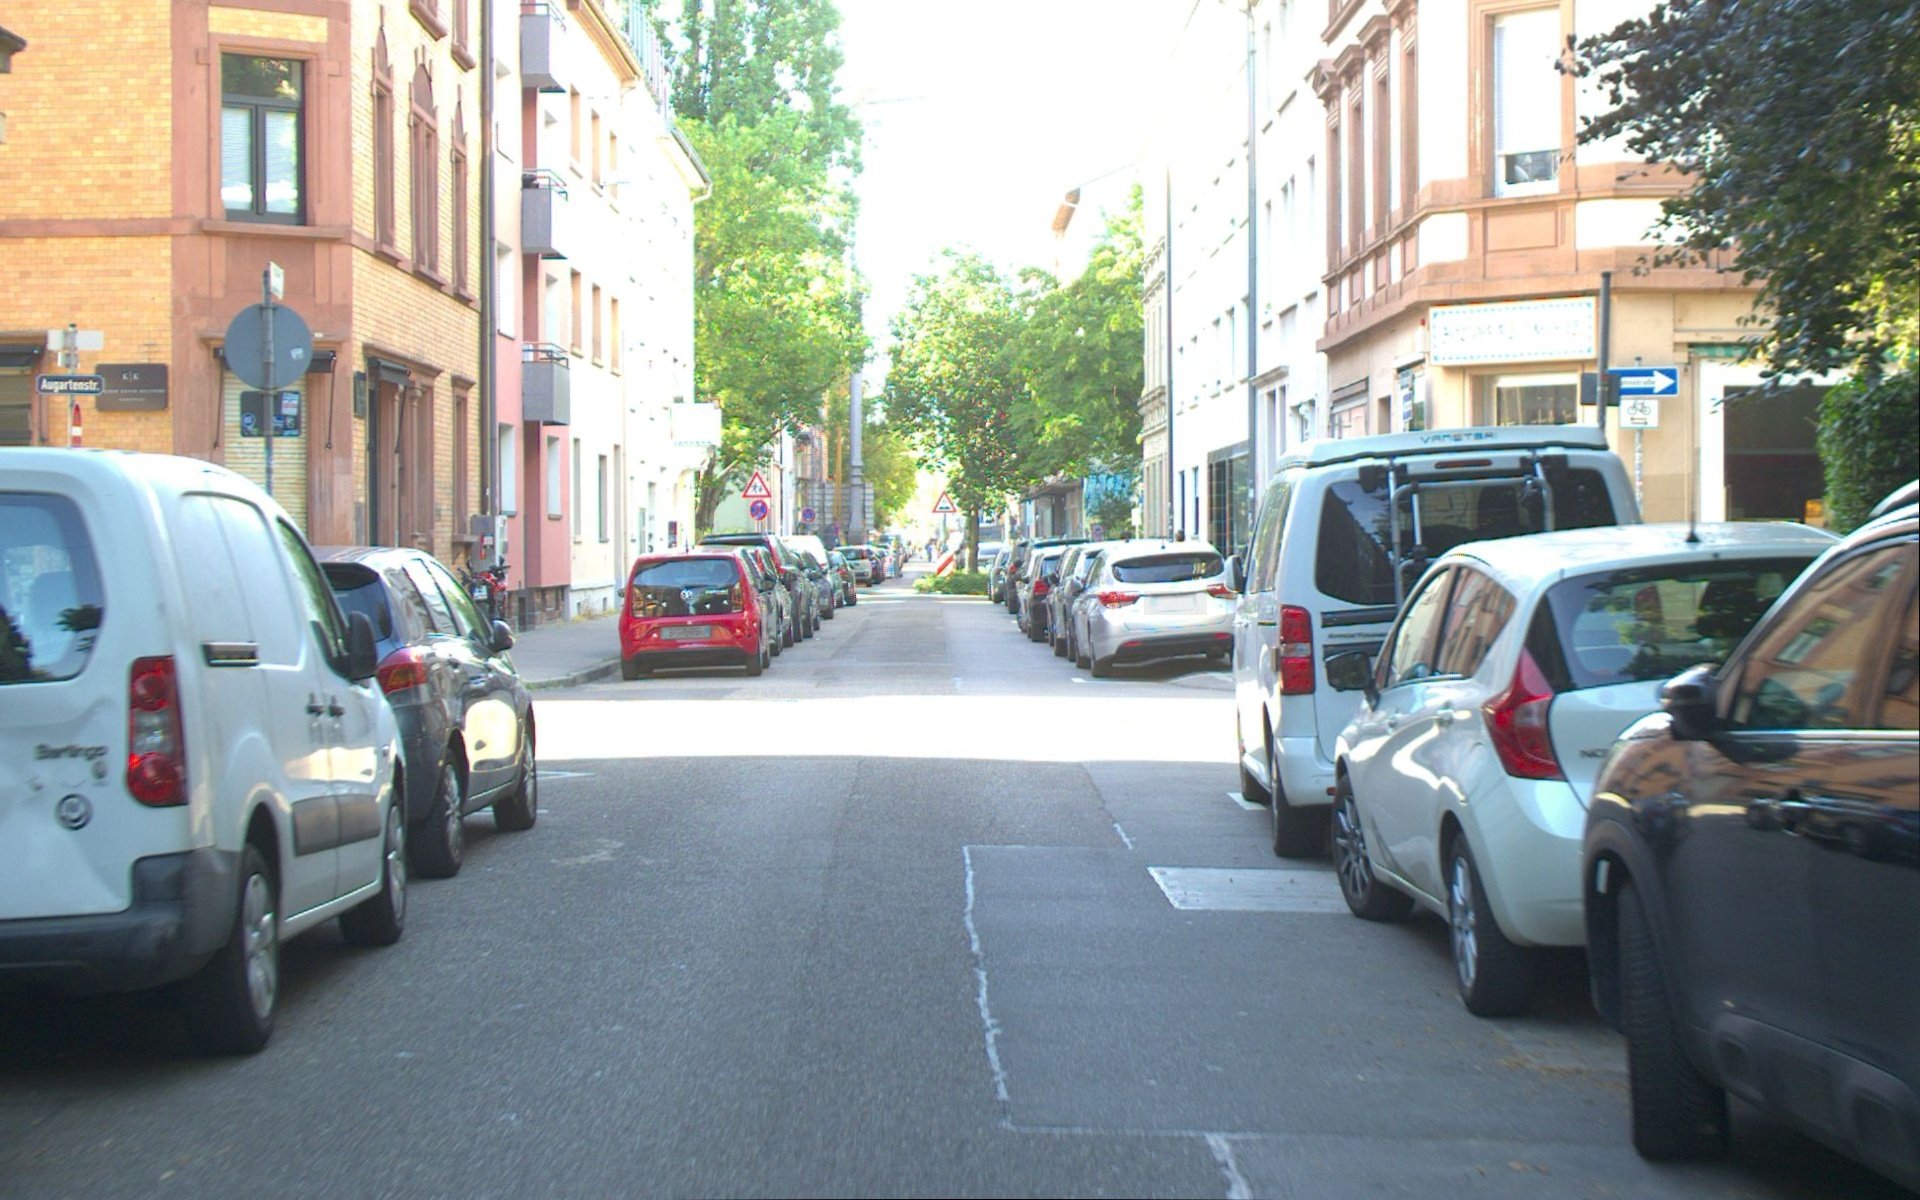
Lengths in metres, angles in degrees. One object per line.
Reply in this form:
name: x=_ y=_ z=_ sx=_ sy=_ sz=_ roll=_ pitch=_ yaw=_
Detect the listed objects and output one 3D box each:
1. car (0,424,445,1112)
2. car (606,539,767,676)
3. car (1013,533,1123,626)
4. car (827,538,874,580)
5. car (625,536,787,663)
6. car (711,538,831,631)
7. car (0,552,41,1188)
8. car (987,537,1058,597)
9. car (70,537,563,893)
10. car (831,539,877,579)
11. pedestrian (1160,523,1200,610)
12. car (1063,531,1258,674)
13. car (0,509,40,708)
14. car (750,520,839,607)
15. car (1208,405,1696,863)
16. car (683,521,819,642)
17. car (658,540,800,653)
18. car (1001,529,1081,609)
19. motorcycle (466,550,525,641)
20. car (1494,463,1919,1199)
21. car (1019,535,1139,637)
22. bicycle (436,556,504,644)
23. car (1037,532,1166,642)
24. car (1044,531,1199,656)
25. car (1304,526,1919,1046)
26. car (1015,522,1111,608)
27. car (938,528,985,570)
car: x=-2.977 y=0.424 z=11.385 sx=1.831 sy=1.805 sz=4.572 roll=-2 pitch=1 yaw=-1
car: x=-3.191 y=0.052 z=40.645 sx=1.628 sy=1.476 sz=3.601 roll=-2 pitch=1 yaw=-1
car: x=1.853 y=-0.382 z=60.199 sx=1.676 sy=1.501 sz=3.938 roll=-2 pitch=1 yaw=-1
car: x=-4.095 y=-1.548 z=129.211 sx=1.676 sy=1.482 sz=4.095 roll=-2 pitch=1 yaw=-1
car: x=-3.307 y=-0.042 z=45.414 sx=1.695 sy=1.516 sz=4.096 roll=-2 pitch=1 yaw=1
car: x=-3.314 y=-0.304 z=60.940 sx=1.743 sy=1.501 sz=4.346 roll=-2 pitch=1 yaw=1
car: x=-3.067 y=0.705 z=6.584 sx=1.692 sy=1.509 sz=3.974 roll=-2 pitch=1 yaw=-3
car: x=1.640 y=-0.905 z=91.431 sx=1.676 sy=1.482 sz=4.095 roll=-2 pitch=1 yaw=-1
car: x=-3.026 y=0.465 z=16.941 sx=1.692 sy=1.476 sz=3.973 roll=-2 pitch=1 yaw=-1
car: x=-4.113 y=-1.614 z=134.222 sx=1.676 sy=1.482 sz=4.095 roll=-2 pitch=1 yaw=-1
pedestrian: x=4.197 y=-0.645 z=65.723 sx=0.685 sy=1.654 sz=0.717 roll=-1 pitch=1 yaw=0
car: x=2.278 y=-0.016 z=40.082 sx=1.743 sy=1.501 sz=4.358 roll=-2 pitch=1 yaw=-3
car: x=-11.438 y=0.096 z=32.832 sx=4.712 sy=1.888 sz=2.026 roll=0 pitch=-1 yaw=5
car: x=-3.579 y=-0.807 z=74.890 sx=1.765 sy=1.779 sz=4.039 roll=-2 pitch=1 yaw=-1
car: x=2.386 y=0.103 z=17.870 sx=1.914 sy=1.991 sz=4.792 roll=-2 pitch=1 yaw=2
car: x=-3.334 y=-0.335 z=55.663 sx=1.743 sy=1.805 sz=4.672 roll=-2 pitch=1 yaw=1
car: x=-3.334 y=-0.085 z=50.237 sx=1.656 sy=1.516 sz=3.944 roll=-2 pitch=1 yaw=1
car: x=1.801 y=-0.693 z=77.243 sx=1.676 sy=1.676 sz=4.094 roll=-2 pitch=0 yaw=1
motorcycle: x=-6.317 y=-0.074 z=46.818 sx=0.533 sy=1.201 sz=1.909 roll=0 pitch=1 yaw=0
car: x=2.510 y=0.480 z=7.062 sx=1.739 sy=1.597 sz=4.265 roll=-5 pitch=1 yaw=-4
car: x=1.878 y=-0.251 z=55.288 sx=1.676 sy=1.501 sz=3.938 roll=-2 pitch=1 yaw=-1
bicycle: x=-6.318 y=-0.007 z=44.400 sx=0.533 sy=1.070 sz=1.891 roll=4 pitch=1 yaw=0
car: x=2.052 y=-0.225 z=50.697 sx=1.598 sy=1.501 sz=4.185 roll=-2 pitch=1 yaw=-1
car: x=2.092 y=-0.122 z=45.487 sx=1.744 sy=1.501 sz=4.021 roll=-2 pitch=1 yaw=-1
car: x=2.351 y=0.527 z=12.324 sx=1.719 sy=1.565 sz=3.829 roll=0 pitch=1 yaw=-2
car: x=2.126 y=-0.752 z=71.899 sx=1.676 sy=1.621 sz=4.251 roll=-4 pitch=1 yaw=-1
car: x=0.050 y=-1.942 z=130.229 sx=1.676 sy=1.482 sz=3.638 roll=-2 pitch=1 yaw=-1
